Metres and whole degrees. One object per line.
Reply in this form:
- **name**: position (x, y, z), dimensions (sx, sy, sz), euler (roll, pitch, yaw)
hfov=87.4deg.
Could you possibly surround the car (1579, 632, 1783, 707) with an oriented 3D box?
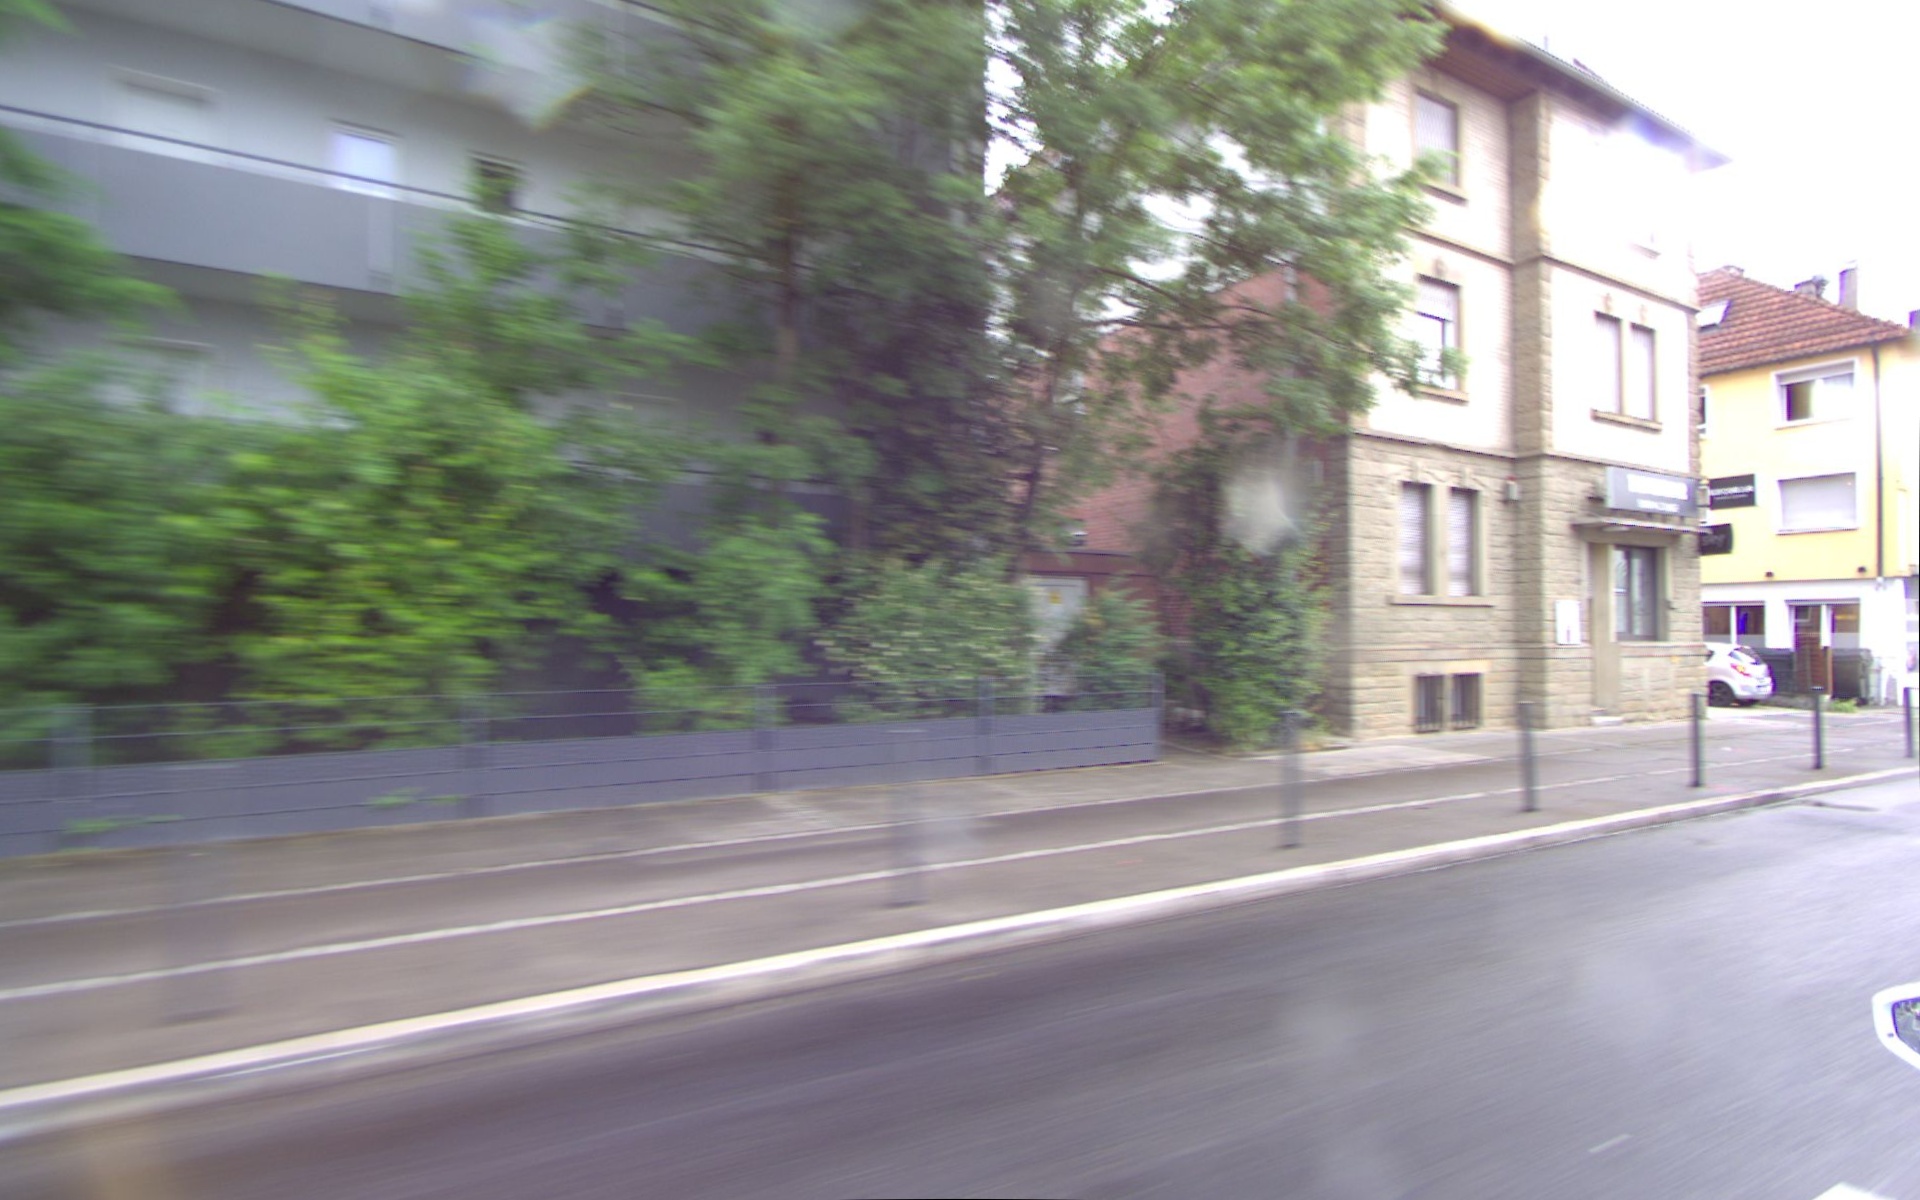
- **car**: position (17.311, 1.615, 24.259), dimensions (1.925, 1.506, 3.545), euler (2, 0, -32)

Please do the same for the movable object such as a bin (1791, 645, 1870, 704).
- **movable object such as a bin**: position (22.164, 1.882, 25.577), dimensions (0.972, 1.420, 1.295), euler (2, -2, -31)

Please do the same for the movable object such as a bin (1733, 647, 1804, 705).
- **movable object such as a bin**: position (21.486, 2.000, 26.702), dimensions (0.972, 1.458, 1.240), euler (2, -2, -31)
